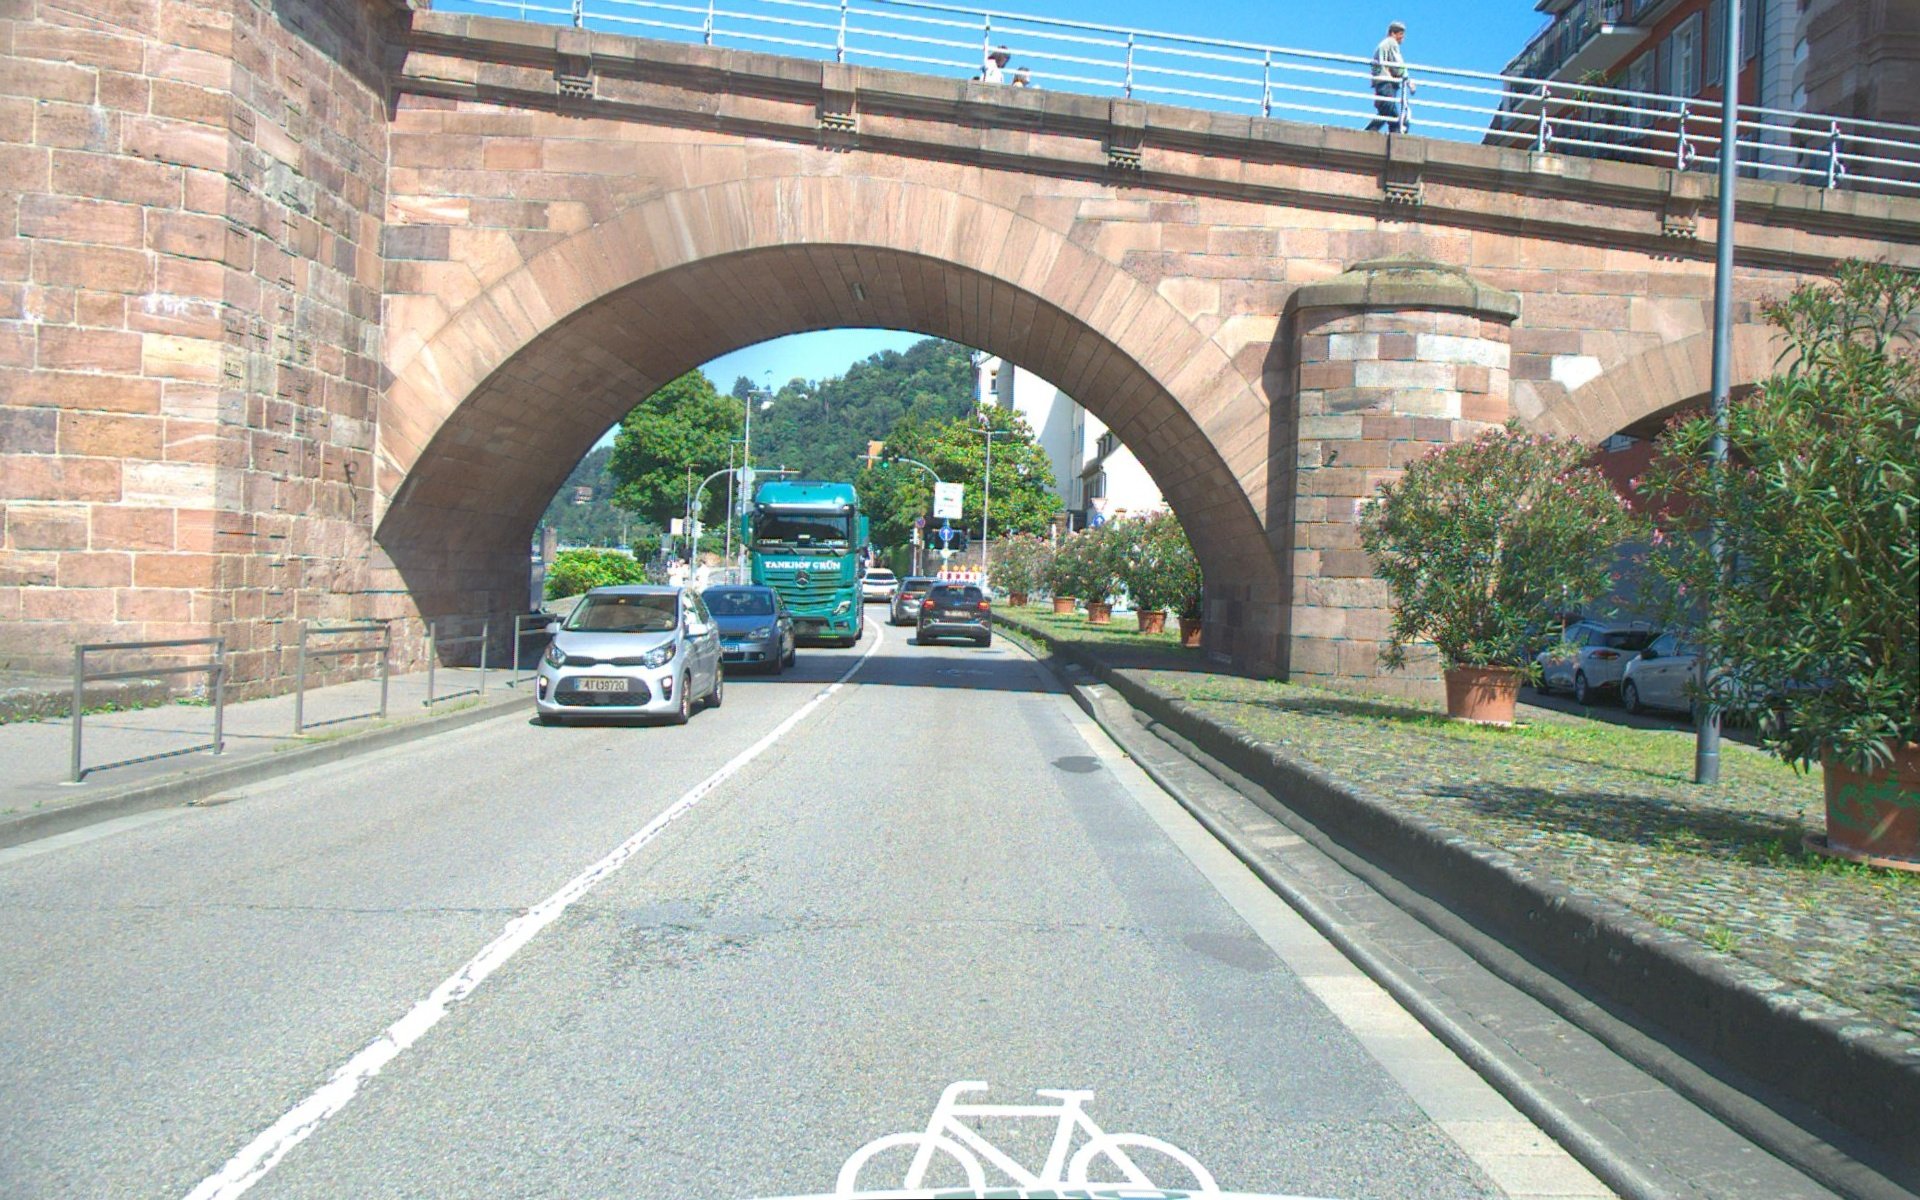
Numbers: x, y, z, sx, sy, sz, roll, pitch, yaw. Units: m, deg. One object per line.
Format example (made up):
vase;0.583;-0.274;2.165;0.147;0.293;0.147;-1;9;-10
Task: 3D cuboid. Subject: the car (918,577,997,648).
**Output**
car;-0.067;0.274;40.872;1.819;1.550;4.000;2;2;-1

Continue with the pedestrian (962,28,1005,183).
pedestrian;0.334;-7.103;23.805;0.569;2.049;0.586;1;-1;0

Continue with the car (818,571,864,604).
car;-6.591;-0.658;91.408;1.959;1.691;3.988;2;-1;-12

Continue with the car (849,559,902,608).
car;-3.834;-0.728;74.167;1.956;2.049;3.993;2;0;-8

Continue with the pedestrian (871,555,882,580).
pedestrian;-6.050;-2.365;119.816;0.668;1.773;0.912;3;0;-6

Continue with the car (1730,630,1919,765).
car;11.649;1.175;21.001;1.739;1.462;4.493;2;0;2

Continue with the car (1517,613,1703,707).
car;11.962;1.057;30.745;1.853;1.518;4.418;1;0;2

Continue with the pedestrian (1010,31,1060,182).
pedestrian;1.109;-7.308;24.553;0.670;2.049;0.586;1;-1;0

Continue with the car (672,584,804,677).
car;-3.766;0.485;28.693;1.688;1.462;4.400;1;0;0

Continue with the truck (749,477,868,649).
truck;-3.545;-0.886;40.004;2.473;3.814;6.244;0;1;-2

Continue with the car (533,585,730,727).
car;-3.658;0.580;18.963;1.503;1.462;3.728;1;0;0

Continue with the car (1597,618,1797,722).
car;11.758;1.076;26.620;1.522;1.444;3.568;2;0;-2

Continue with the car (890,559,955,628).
car;-1.208;-0.185;52.807;1.953;2.049;3.998;1;0;-2

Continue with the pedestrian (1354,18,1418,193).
pedestrian;5.510;-6.385;21.428;0.611;2.049;0.695;1;-1;0

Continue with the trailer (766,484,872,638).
trailer;-3.745;-1.046;46.186;2.473;3.707;11.525;1;1;-3
